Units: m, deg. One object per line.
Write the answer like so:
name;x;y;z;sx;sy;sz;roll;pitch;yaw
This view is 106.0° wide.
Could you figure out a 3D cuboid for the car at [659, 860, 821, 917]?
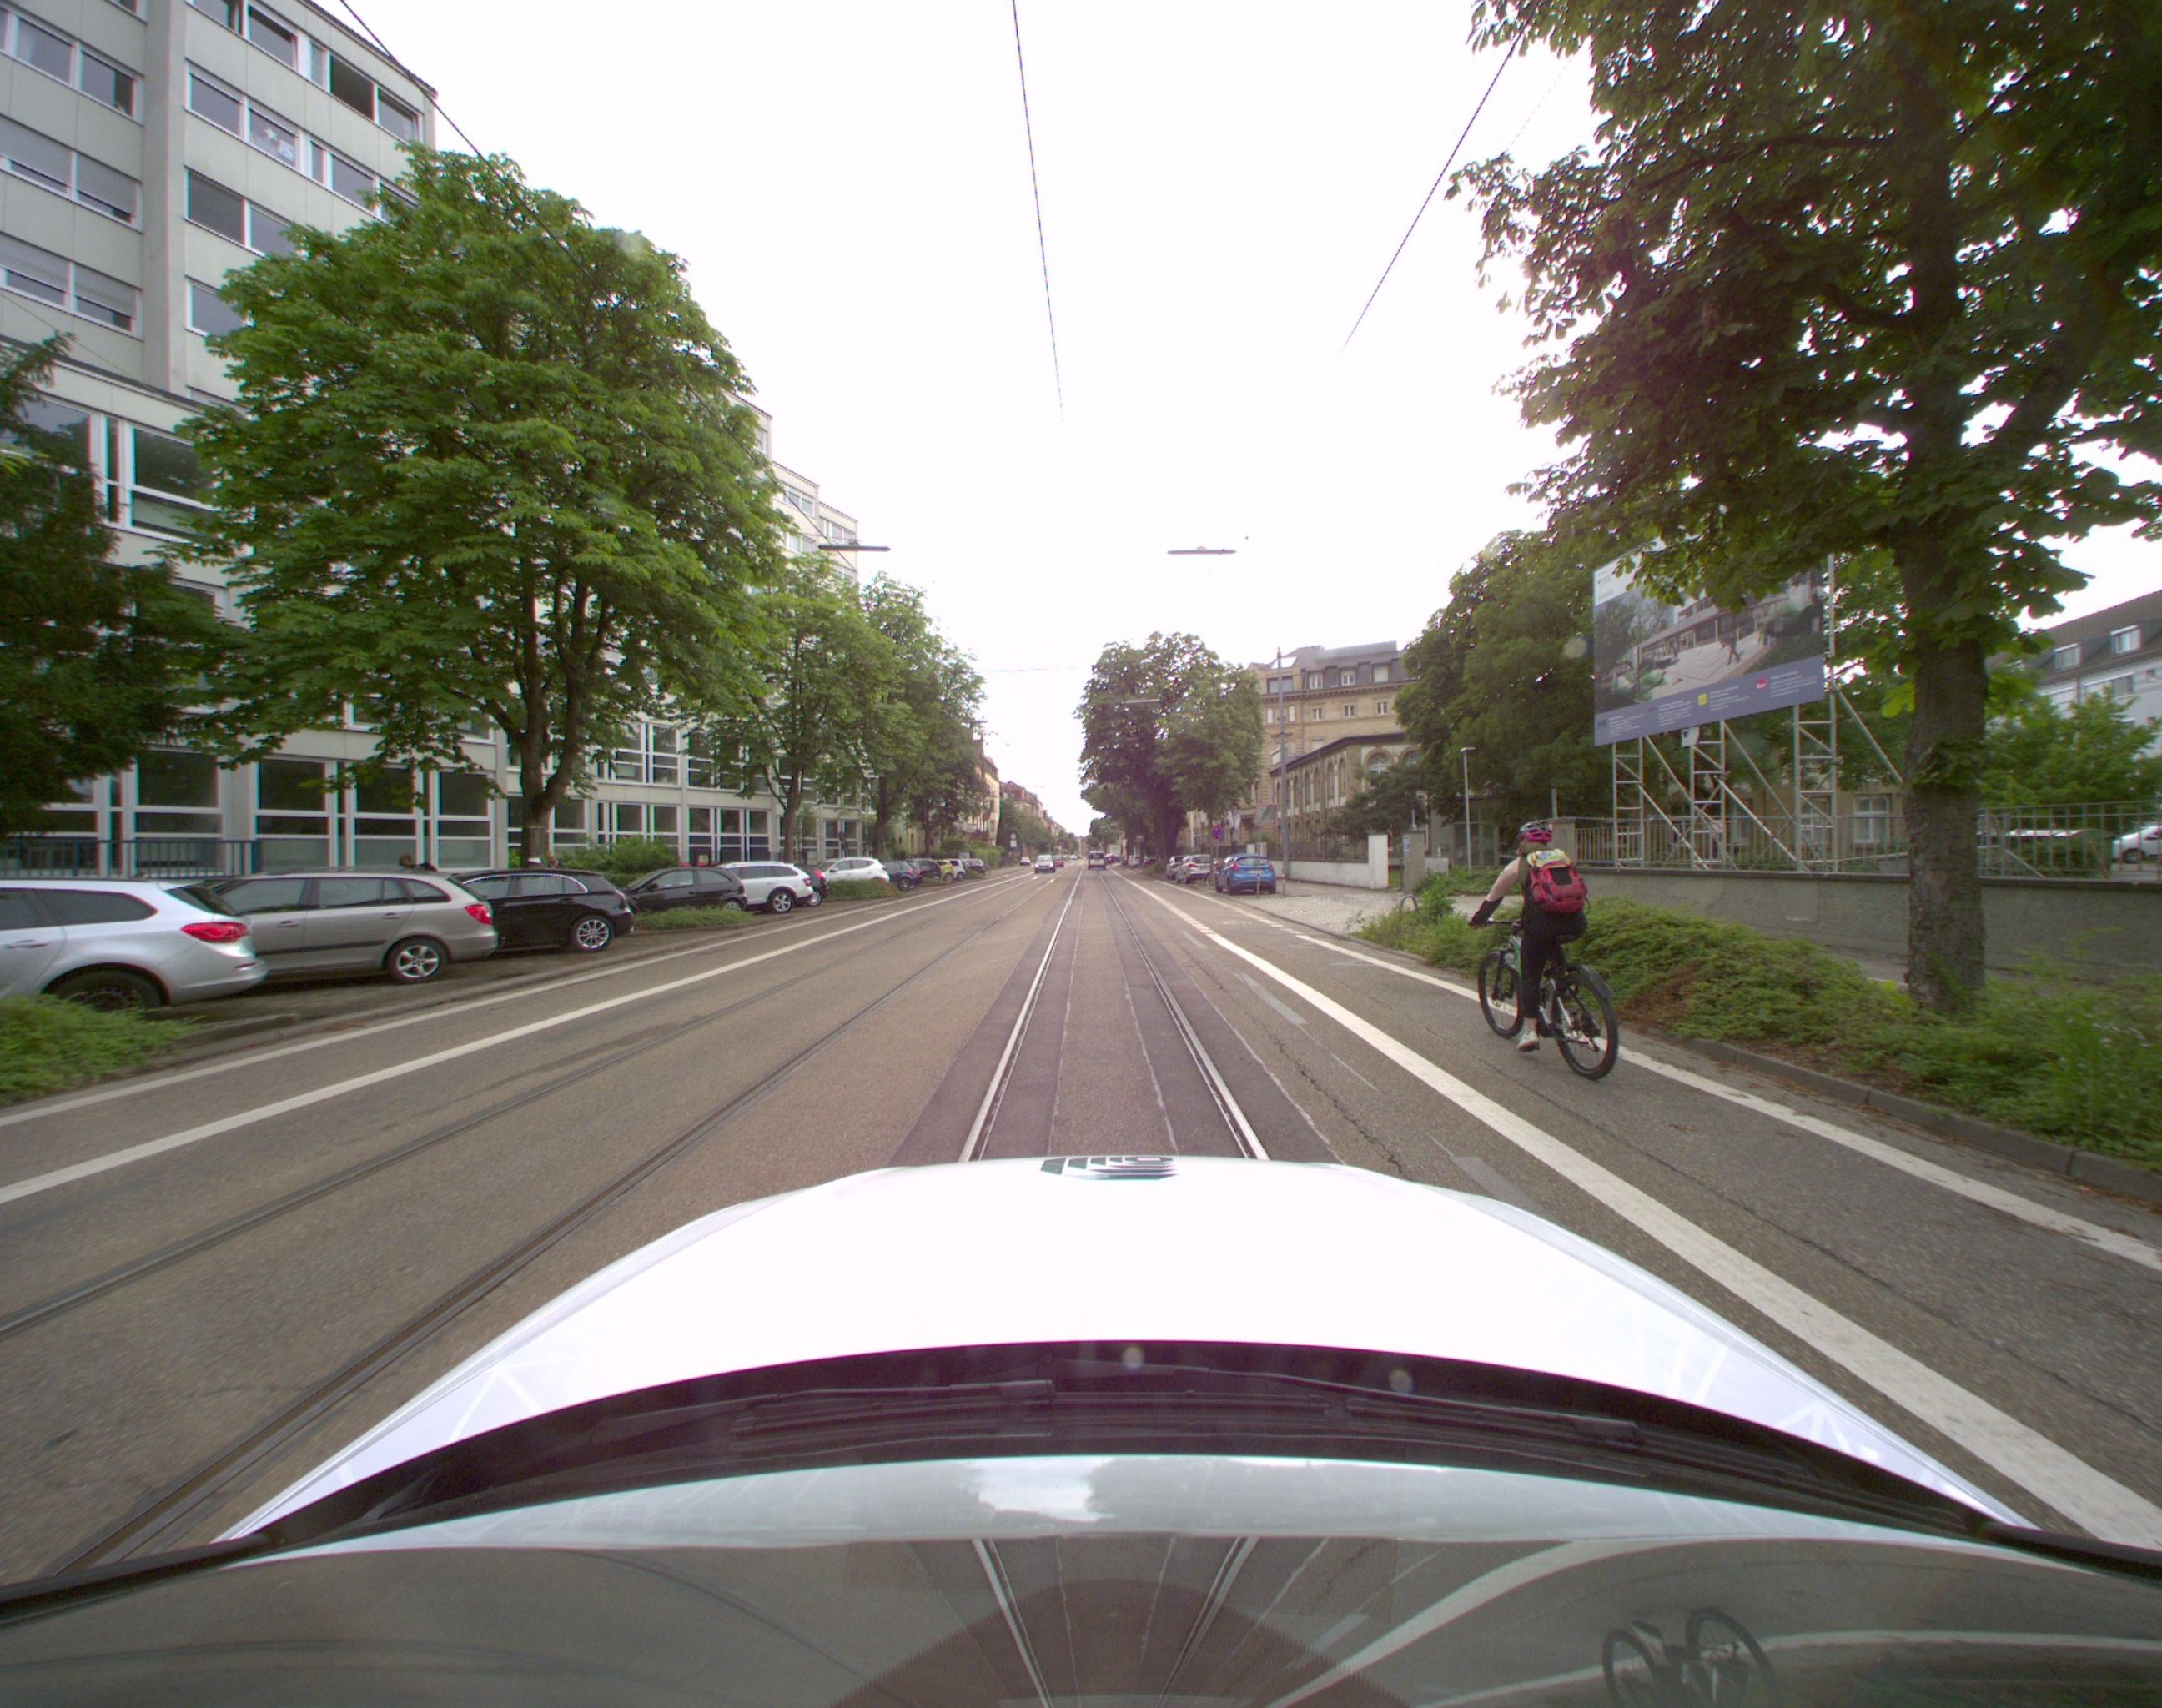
car;-9.800;0.923;23.530;4.047;1.484;1.681;0;0;-38

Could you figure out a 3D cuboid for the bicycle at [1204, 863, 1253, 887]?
bicycle;6.292;0.883;34.768;2.008;0.957;0.533;-1;0;-4

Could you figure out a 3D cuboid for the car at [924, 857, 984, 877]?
car;-8.970;0.928;57.771;1.679;1.352;3.991;0;0;45

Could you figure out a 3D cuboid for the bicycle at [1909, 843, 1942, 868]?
bicycle;36.866;0.069;35.564;0.391;1.065;1.839;-1;0;26

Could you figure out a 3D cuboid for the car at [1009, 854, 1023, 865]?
car;-13.157;1.061;165.269;2.169;2.207;4.220;-2;0;1

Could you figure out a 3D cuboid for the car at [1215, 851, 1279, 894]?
car;6.028;0.637;29.928;1.668;1.460;3.432;0;0;0

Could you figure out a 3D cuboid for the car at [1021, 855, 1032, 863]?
car;-9.366;0.910;140.056;1.637;1.354;3.873;-1;0;-3

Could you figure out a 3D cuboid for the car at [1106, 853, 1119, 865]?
car;4.986;0.826;130.542;1.986;1.794;4.002;-1;0;2

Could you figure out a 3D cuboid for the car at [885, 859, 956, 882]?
car;-9.744;0.966;49.547;1.679;1.352;3.991;0;0;45

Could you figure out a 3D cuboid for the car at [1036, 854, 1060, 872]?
car;-2.956;0.780;72.733;1.894;1.530;3.754;-3;0;0

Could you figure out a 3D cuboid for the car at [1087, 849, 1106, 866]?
car;1.585;0.380;82.724;1.804;1.708;3.701;0;-1;3

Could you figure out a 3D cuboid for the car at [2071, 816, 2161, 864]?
car;45.994;-0.583;34.800;4.299;2.014;1.864;-1;-1;23

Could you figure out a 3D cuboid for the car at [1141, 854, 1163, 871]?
car;6.230;0.734;71.590;1.784;1.399;3.798;-2;0;3

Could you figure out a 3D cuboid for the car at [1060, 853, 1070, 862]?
car;-3.950;0.838;204.657;2.198;2.255;4.000;-2;0;0

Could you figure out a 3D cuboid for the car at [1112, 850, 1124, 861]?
car;7.089;0.317;154.423;1.988;2.013;3.998;-1;0;-1

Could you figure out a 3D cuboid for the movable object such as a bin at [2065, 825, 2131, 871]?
movable object such as a bin;33.764;-0.208;27.068;1.042;1.450;1.363;-1;2;36

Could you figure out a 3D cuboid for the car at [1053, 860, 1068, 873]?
car;-2.461;1.496;98.849;1.670;1.522;2.782;0;-1;1

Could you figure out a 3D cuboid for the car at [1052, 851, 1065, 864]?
car;-4.436;0.656;160.300;2.195;2.417;4.005;-2;0;4

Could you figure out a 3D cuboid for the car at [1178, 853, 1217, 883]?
car;5.970;0.703;41.969;1.471;1.481;3.565;0;0;0

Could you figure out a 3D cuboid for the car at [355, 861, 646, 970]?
car;-9.494;0.892;13.497;3.727;1.524;1.679;0;0;-44

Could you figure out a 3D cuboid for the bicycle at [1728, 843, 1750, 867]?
bicycle;31.127;0.041;38.550;0.611;1.119;2.235;-2;0;34

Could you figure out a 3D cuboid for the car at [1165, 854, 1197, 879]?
car;5.968;0.729;49.037;1.471;1.429;3.565;-1;0;0

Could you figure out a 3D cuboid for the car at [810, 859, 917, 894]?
car;-9.679;0.979;36.403;1.679;1.454;4.372;0;0;45

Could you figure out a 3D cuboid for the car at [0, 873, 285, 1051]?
car;-10.096;0.937;7.076;1.781;1.465;4.459;-1;-1;43

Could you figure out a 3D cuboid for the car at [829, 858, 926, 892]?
car;-9.854;0.985;39.719;1.679;1.535;4.372;0;0;45

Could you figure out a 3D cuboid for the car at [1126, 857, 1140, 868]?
car;7.059;1.091;110.858;1.763;1.399;3.798;-2;0;3

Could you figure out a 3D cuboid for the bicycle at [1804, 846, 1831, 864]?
bicycle;33.734;0.044;37.314;0.611;0.813;1.957;-2;0;34

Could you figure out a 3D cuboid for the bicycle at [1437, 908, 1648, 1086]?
bicycle;3.355;0.971;6.154;0.487;0.979;2.058;0;0;2

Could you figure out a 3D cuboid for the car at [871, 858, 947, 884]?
car;-9.741;0.932;46.258;1.679;1.352;3.991;0;0;45

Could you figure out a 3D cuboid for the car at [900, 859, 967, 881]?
car;-9.502;0.996;52.599;1.679;1.352;3.991;0;0;45

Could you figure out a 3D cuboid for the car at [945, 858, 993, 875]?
car;-9.542;1.066;69.423;3.724;1.386;1.686;0;0;-24

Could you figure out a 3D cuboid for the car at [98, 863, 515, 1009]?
car;-9.645;0.890;10.485;3.672;1.524;1.553;0;0;-44

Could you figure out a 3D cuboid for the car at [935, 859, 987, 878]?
car;-9.333;1.118;63.391;3.724;1.386;1.686;0;0;-24

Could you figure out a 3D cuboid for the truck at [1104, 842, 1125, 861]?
truck;7.510;-0.596;183.861;3.799;4.029;10.208;-1;0;-3

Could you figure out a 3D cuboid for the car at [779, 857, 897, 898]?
car;-9.841;0.897;33.244;1.678;1.556;4.373;0;0;41

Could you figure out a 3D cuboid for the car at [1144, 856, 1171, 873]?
car;5.912;0.796;63.199;1.866;1.251;4.003;-2;0;3

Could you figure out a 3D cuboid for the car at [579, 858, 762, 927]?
car;-10.054;0.873;20.104;3.727;1.524;1.679;0;0;-44

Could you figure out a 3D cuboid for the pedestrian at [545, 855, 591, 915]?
pedestrian;-14.151;0.846;22.472;0.746;1.612;0.738;0;-2;25

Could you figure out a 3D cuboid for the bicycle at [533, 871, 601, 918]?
bicycle;-14.141;1.091;22.463;0.401;1.268;1.604;-1;-1;24

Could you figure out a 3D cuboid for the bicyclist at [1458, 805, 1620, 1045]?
bicyclist;3.310;0.483;5.969;0.655;1.610;0.920;-1;0;2

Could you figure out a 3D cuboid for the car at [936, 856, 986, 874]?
car;-9.730;0.900;66.242;3.724;1.386;1.686;0;0;-24

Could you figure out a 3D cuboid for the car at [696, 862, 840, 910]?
car;-10.053;0.990;26.298;4.047;1.405;1.681;0;0;-38

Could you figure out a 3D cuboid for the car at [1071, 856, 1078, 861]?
car;-1.996;1.458;254.384;1.764;1.643;3.570;-2;0;4
